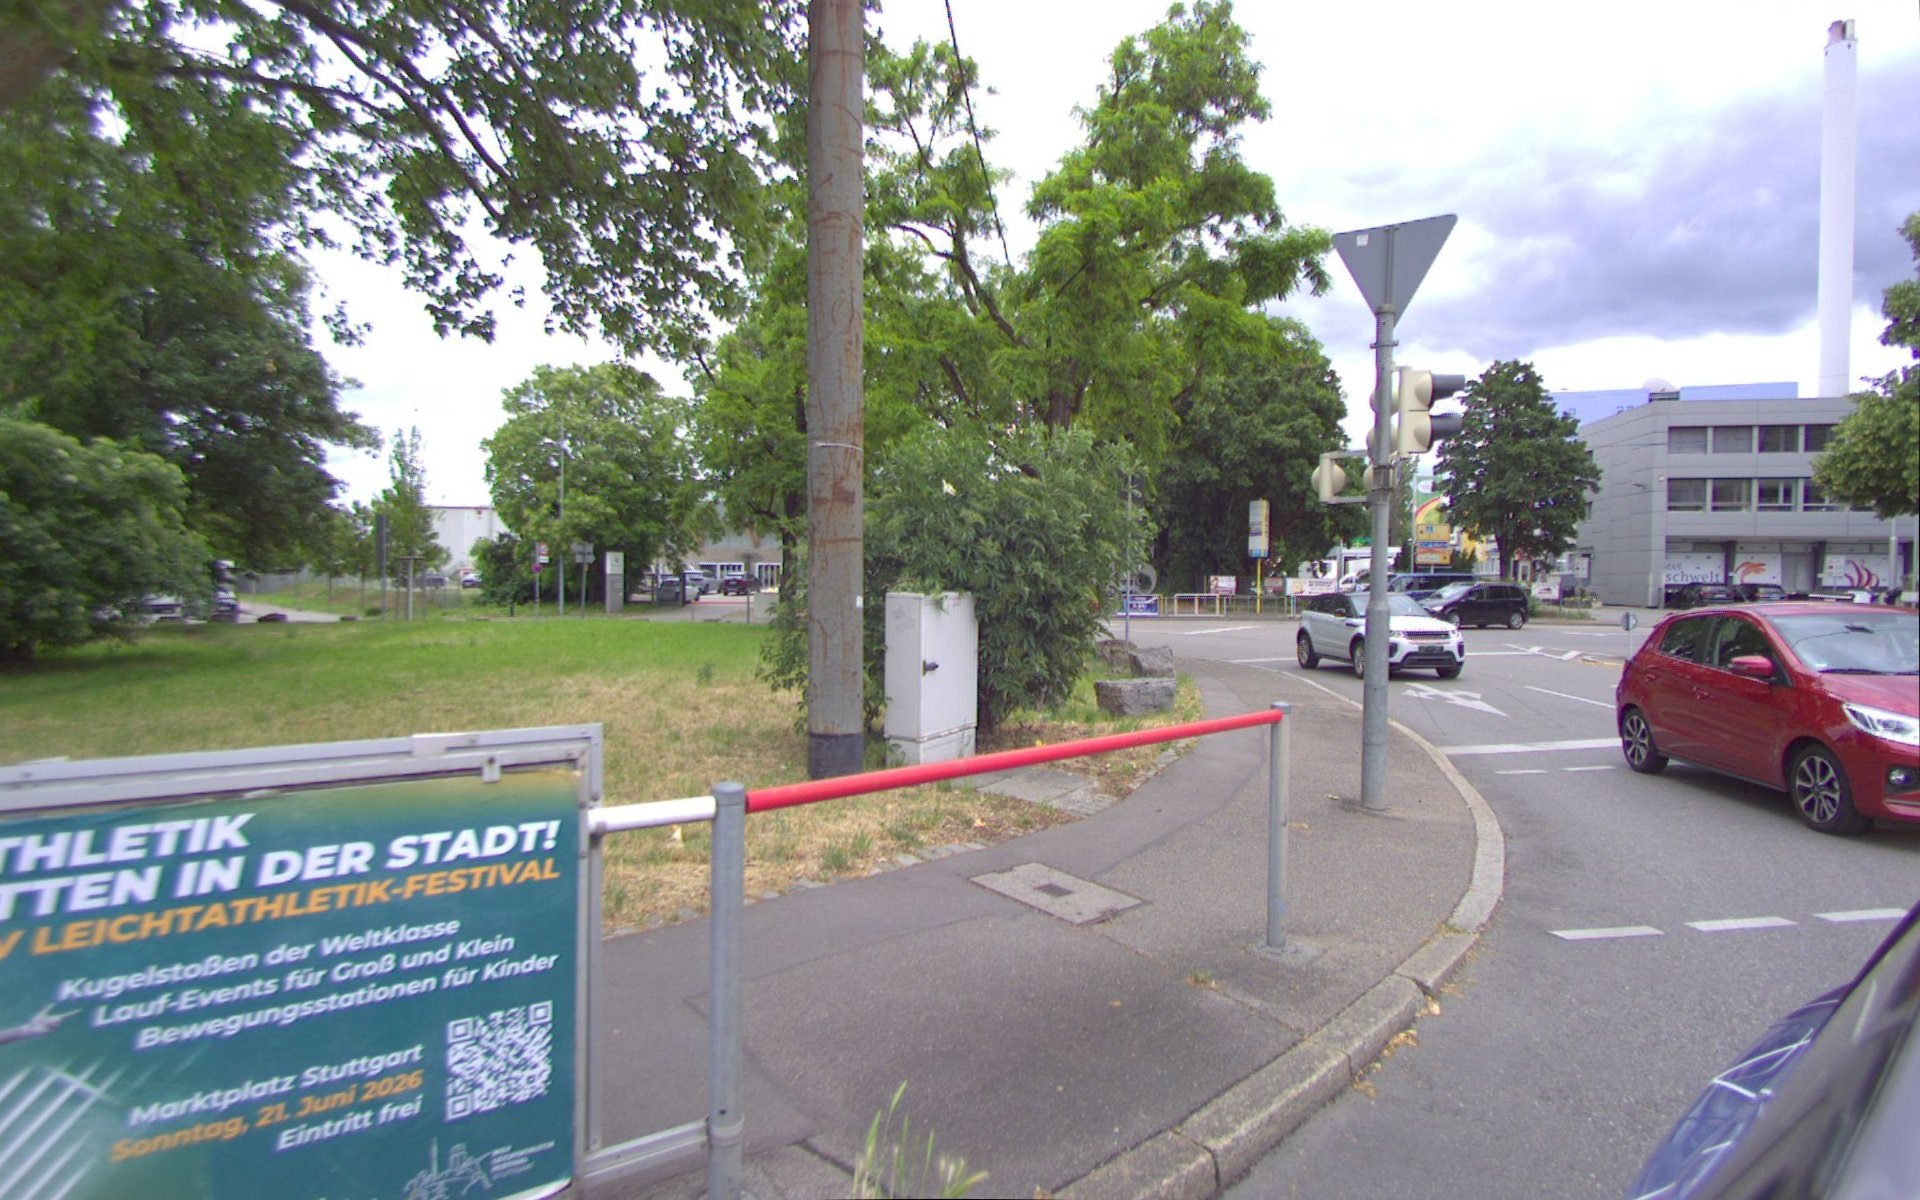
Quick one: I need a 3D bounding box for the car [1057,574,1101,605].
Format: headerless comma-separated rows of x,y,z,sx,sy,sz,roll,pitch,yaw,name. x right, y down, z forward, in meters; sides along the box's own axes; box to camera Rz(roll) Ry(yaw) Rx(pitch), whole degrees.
6.818,-0.626,57.440,1.970,1.475,4.684,-3,2,13,car

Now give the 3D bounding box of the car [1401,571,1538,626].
17.850,-0.055,35.477,4.140,1.794,1.837,2,0,-17,car

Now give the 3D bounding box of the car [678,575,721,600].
-18.585,-0.915,72.351,1.882,1.721,3.996,0,1,4,car

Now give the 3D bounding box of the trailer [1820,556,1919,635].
30.836,-0.152,32.138,5.283,2.417,2.152,0,0,-2,trailer

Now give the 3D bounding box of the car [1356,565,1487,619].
18.015,-0.337,39.670,4.161,2.038,1.999,0,2,4,car

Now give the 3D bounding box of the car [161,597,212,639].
-51.739,1.164,67.789,2.152,2.572,6.484,-5,2,-34,car

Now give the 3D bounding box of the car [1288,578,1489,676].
8.289,0.432,20.038,1.880,1.588,4.118,-4,2,-5,car

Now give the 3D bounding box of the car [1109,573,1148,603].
9.524,-0.723,57.419,1.967,1.475,4.691,-3,2,8,car

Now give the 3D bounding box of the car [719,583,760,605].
-15.622,-0.463,71.869,1.882,1.527,3.996,0,1,4,car

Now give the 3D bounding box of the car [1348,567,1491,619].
17.935,-0.280,39.669,4.716,1.969,1.831,0,0,4,car

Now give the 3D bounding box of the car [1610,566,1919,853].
6.501,0.555,7.306,1.740,1.549,3.730,-1,2,11,car

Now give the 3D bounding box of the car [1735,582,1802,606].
46.999,-0.366,58.909,1.753,1.192,3.556,-3,2,16,car

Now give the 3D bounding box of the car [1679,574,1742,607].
44.020,-0.562,59.415,1.753,1.699,3.556,-3,2,16,car

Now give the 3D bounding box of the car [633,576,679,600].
-21.949,-0.872,73.166,1.882,1.721,3.996,0,1,4,car
